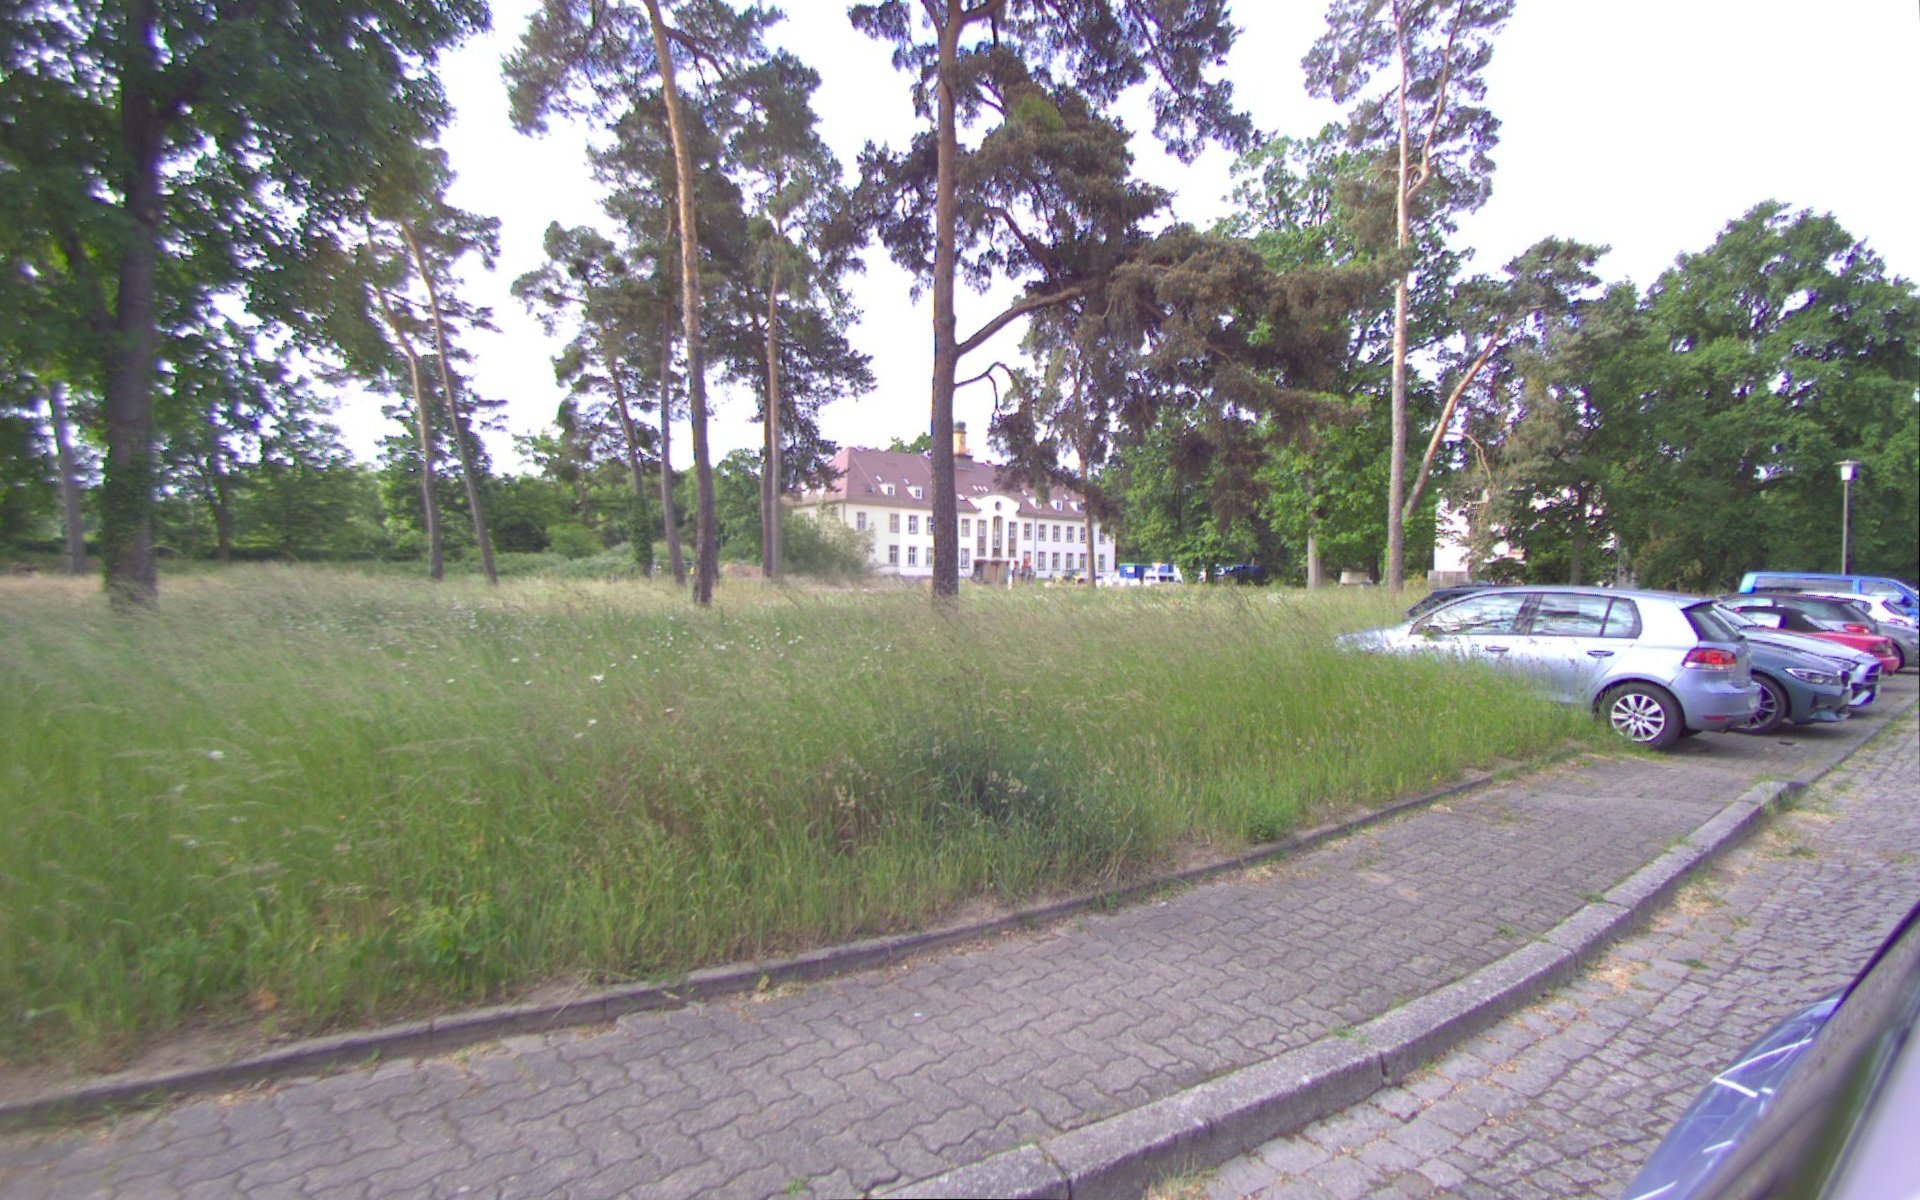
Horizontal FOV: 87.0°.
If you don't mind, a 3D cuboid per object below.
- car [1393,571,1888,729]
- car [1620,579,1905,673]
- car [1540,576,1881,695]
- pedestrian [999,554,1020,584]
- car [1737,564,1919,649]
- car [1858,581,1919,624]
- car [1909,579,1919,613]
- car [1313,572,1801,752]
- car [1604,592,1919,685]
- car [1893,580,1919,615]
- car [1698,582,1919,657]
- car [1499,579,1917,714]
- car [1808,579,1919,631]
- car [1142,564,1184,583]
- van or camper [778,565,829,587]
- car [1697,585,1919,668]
[{"bbox_3d":[7.886,0.427,12.157,1.765,1.463,4.627,0,2,-41],"label":"car"},{"bbox_3d":[15.026,0.402,19.120,1.765,1.494,3.931,0,2,-40],"label":"car"},{"bbox_3d":[11.503,0.433,15.734,1.764,1.531,3.933,0,2,-39],"label":"car"},{"bbox_3d":[3.751,-2.319,76.211,1.038,2.204,1.183,0,2,-41],"label":"pedestrian"},{"bbox_3d":[23.296,0.127,26.051,1.963,2.038,4.843,0,2,-37],"label":"car"},{"bbox_3d":[37.229,0.107,38.823,1.967,1.589,3.990,-1,2,-44],"label":"car"},{"bbox_3d":[48.155,-0.124,48.410,1.965,1.645,3.790,0,2,-40],"label":"car"},{"bbox_3d":[5.955,0.462,10.492,1.765,1.436,3.995,0,2,-40],"label":"car"},{"bbox_3d":[13.394,0.551,17.069,1.765,1.250,3.931,0,2,-40],"label":"car"},{"bbox_3d":[44.766,-0.074,45.598,1.965,1.589,3.790,0,2,-40],"label":"car"},{"bbox_3d":[19.269,0.368,22.844,1.765,1.467,3.931,0,2,-41],"label":"car"},{"bbox_3d":[9.986,0.492,13.818,1.764,1.463,4.267,0,2,-39],"label":"car"},{"bbox_3d":[29.690,0.148,32.075,1.836,1.523,3.997,0,2,-39],"label":"car"},{"bbox_3d":[22.430,-2.888,111.562,4.754,2.038,2.163,-1,2,-44],"label":"car"},{"bbox_3d":[-17.295,-2.683,111.567,2.424,2.335,6.114,-1,2,-43],"label":"van or camper"},{"bbox_3d":[17.452,0.466,20.364,1.765,1.453,3.931,0,2,-41],"label":"car"}]
